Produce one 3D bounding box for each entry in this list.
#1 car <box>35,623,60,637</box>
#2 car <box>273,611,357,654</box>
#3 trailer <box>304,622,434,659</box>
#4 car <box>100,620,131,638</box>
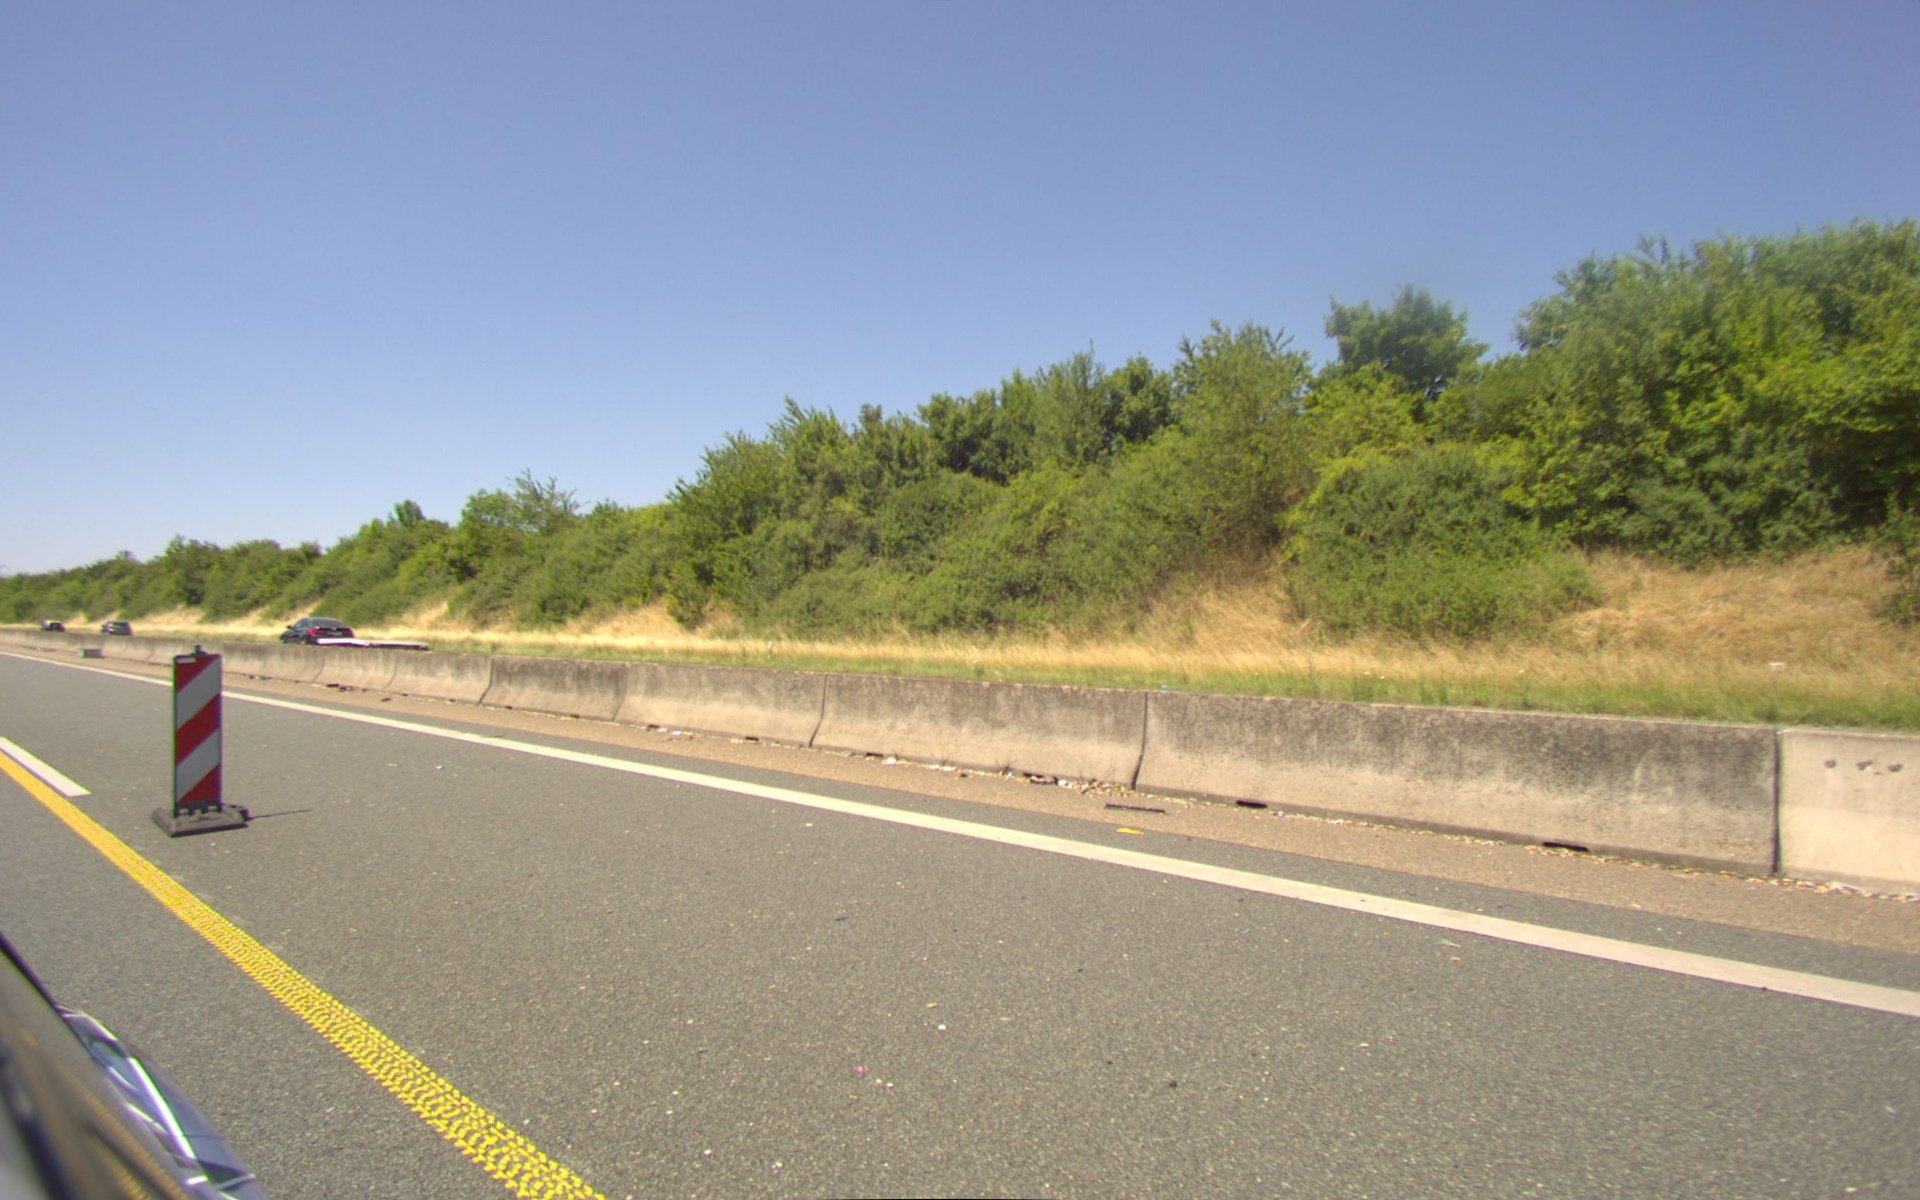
[{"bbox_3d":[-99.570,3.280,110.388,3.777,1.475,1.557,-1,-2,42],"label":"car"},{"bbox_3d":[-28.393,1.389,44.512,4.563,1.767,1.893,-1,0,41],"label":"car"},{"bbox_3d":[-23.848,1.558,40.670,7.213,1.354,2.331,-1,-2,41],"label":"trailer"},{"bbox_3d":[-74.351,2.576,89.097,3.997,1.560,1.484,-1,-2,41],"label":"car"}]
